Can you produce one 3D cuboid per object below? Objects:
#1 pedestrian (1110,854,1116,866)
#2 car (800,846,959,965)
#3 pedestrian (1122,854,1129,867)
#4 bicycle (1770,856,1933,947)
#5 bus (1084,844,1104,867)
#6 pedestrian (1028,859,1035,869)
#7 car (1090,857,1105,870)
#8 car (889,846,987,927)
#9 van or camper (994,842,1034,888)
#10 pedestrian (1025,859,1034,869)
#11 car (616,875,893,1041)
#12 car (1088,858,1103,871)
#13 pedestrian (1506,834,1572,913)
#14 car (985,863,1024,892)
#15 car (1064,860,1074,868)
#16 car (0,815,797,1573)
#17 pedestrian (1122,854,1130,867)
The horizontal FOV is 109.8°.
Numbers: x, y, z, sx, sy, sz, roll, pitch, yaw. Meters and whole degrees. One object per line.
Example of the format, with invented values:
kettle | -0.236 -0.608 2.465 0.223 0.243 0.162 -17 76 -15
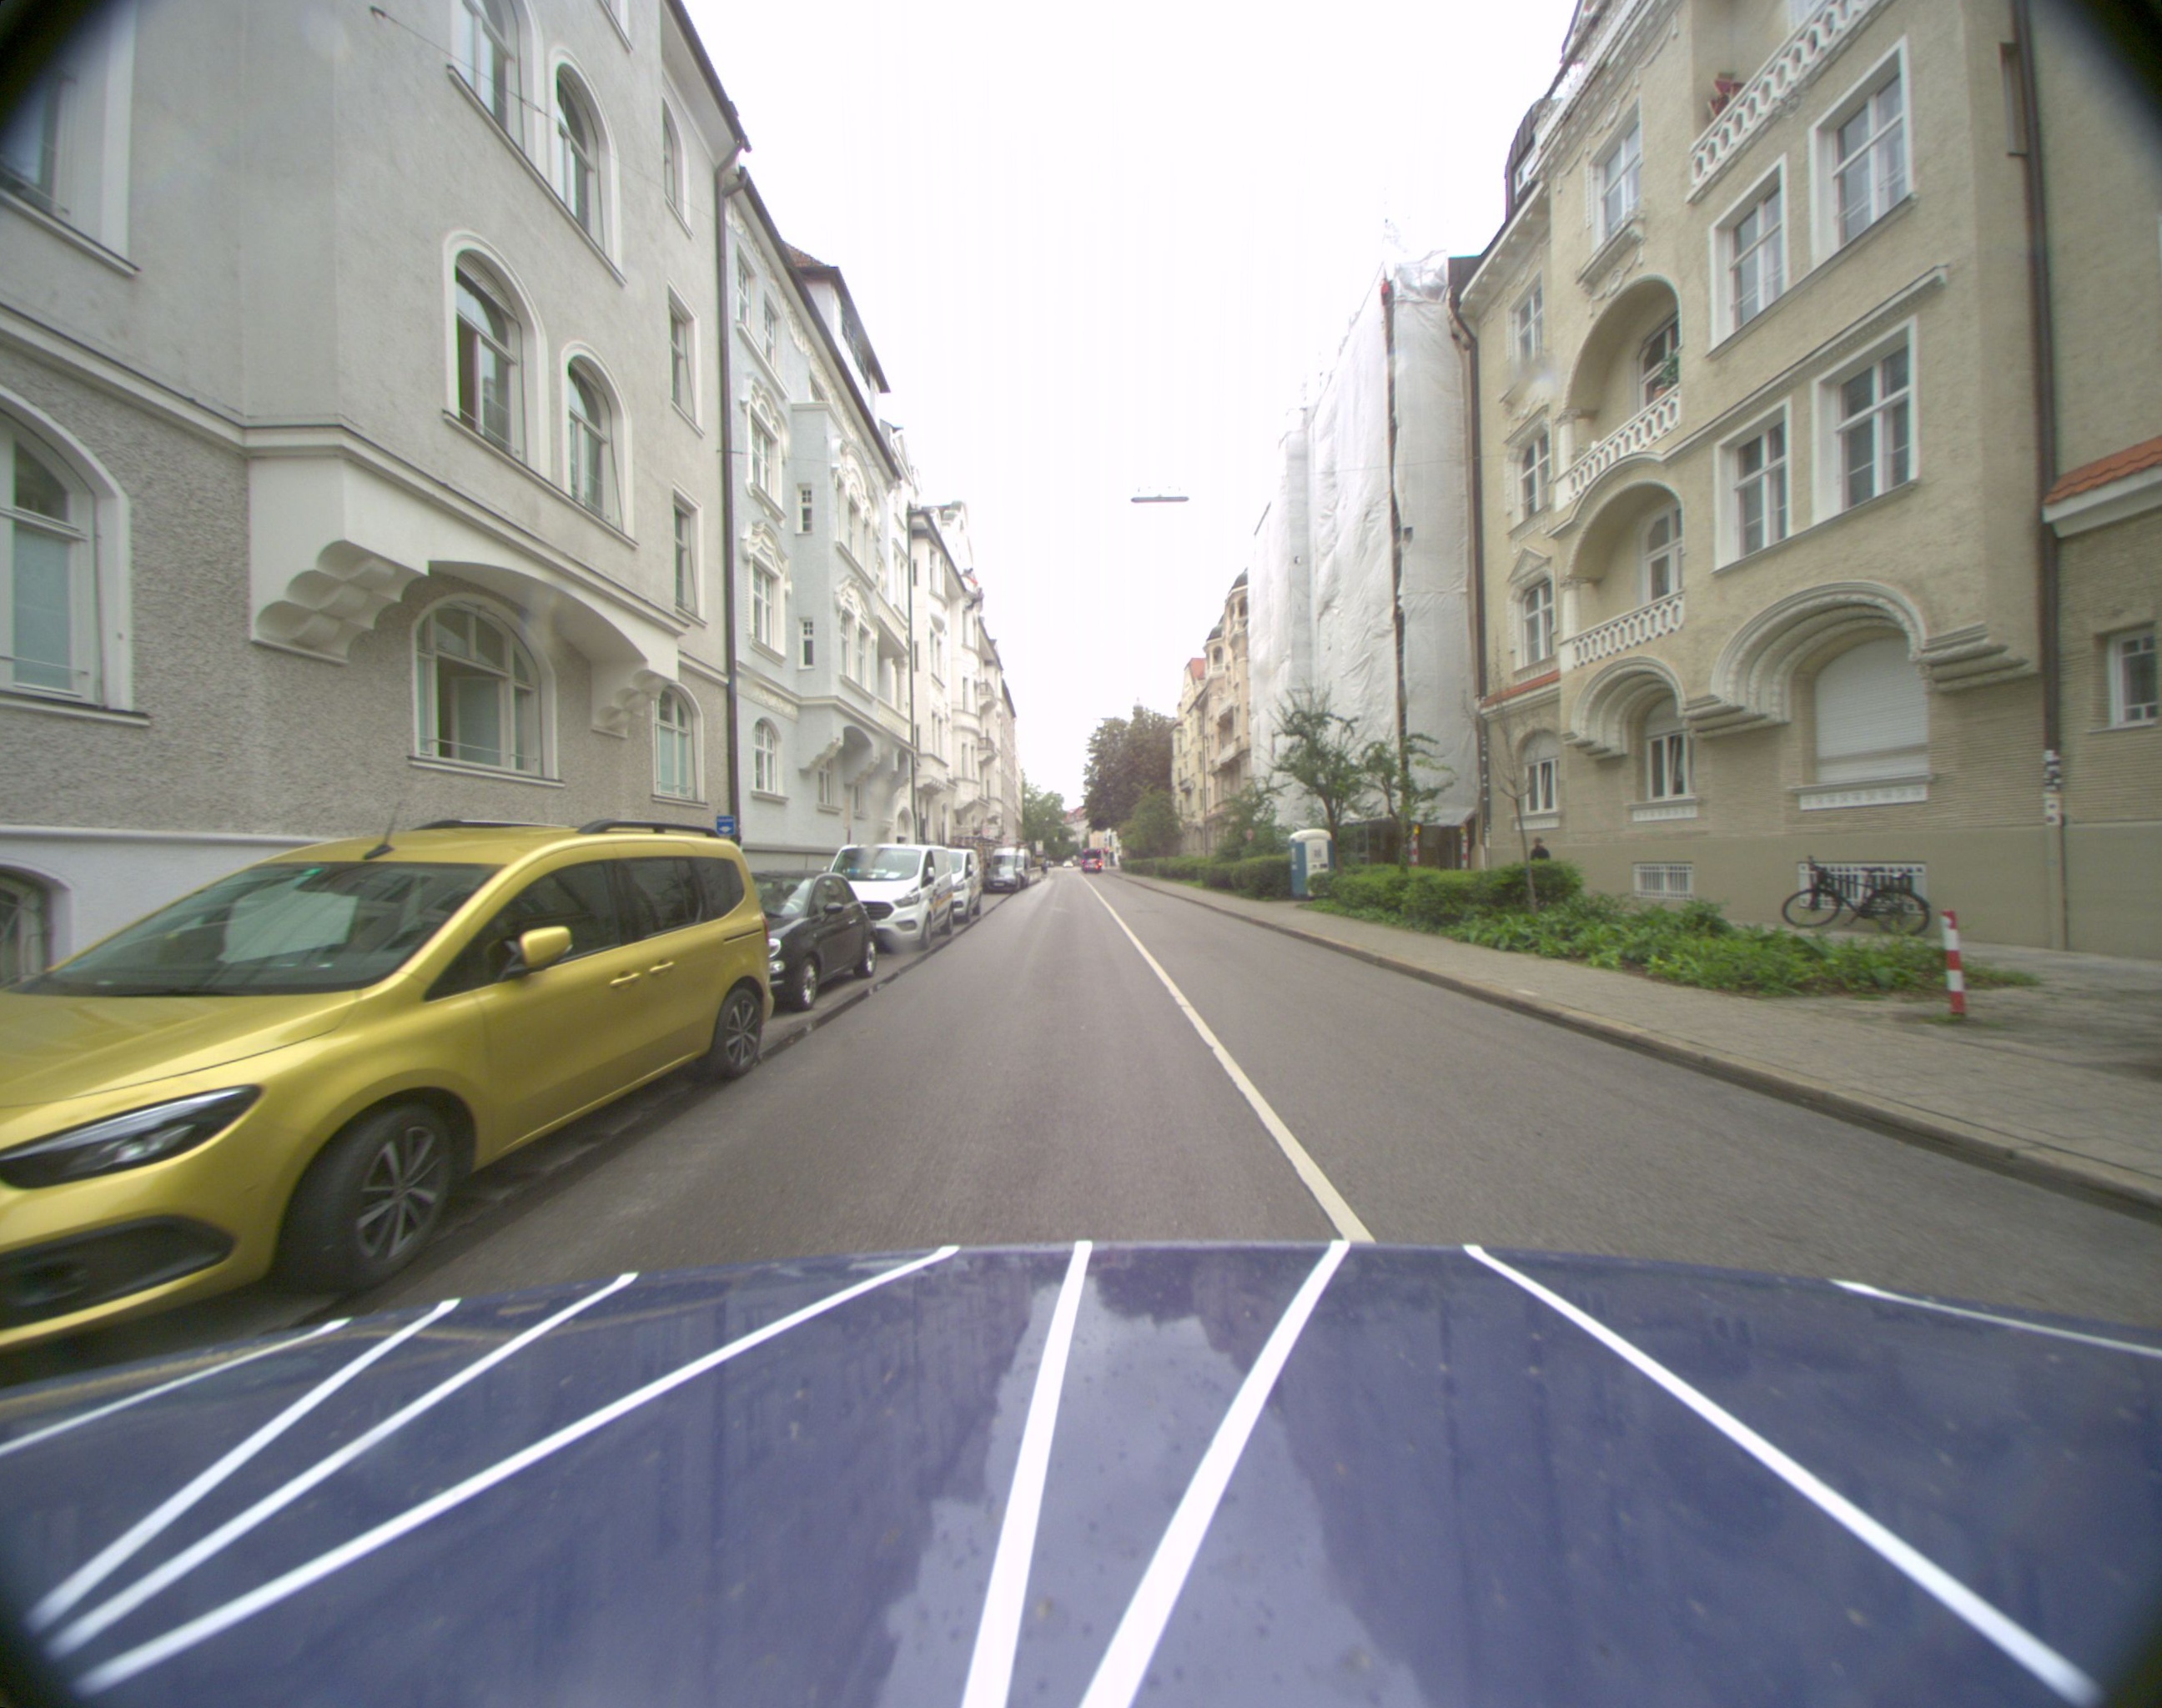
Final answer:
pedestrian | 5.500 0.987 131.142 0.952 2.002 1.397 -1 0 9
car | -3.715 0.854 15.038 1.964 1.926 4.992 -1 0 -2
pedestrian | 5.923 0.834 100.763 0.875 1.735 0.910 -1 0 -1
bicycle | 11.649 0.673 11.583 0.747 1.268 1.703 -1 0 0
bus | 1.747 0.218 105.644 2.586 3.082 8.922 -1 0 0
pedestrian | -6.113 1.284 93.843 0.709 1.230 0.585 -1 0 0
car | 2.032 1.183 95.419 1.772 1.635 4.273 -1 0 -1
car | -3.872 0.824 21.436 1.964 2.002 4.992 -1 0 -2
van or camper | -3.996 0.639 46.106 1.958 2.621 5.458 -1 0 0
pedestrian | -6.290 1.263 92.799 1.099 1.230 0.668 -1 0 -1
car | -3.588 1.050 9.160 1.636 1.475 3.783 -1 0 1
car | 1.628 1.238 88.482 1.588 1.470 3.782 -1 0 -1
pedestrian | 10.524 0.434 17.493 0.916 1.741 0.948 -1 0 -1
car | -3.971 1.201 40.031 1.758 1.426 4.086 -1 0 -2
car | -2.636 2.265 167.023 1.927 1.608 3.999 -1 0 -2
car | -3.470 0.853 4.105 1.854 1.842 4.821 -1 0 2
pedestrian | 5.862 0.848 99.013 0.910 1.735 0.847 -1 0 -1
